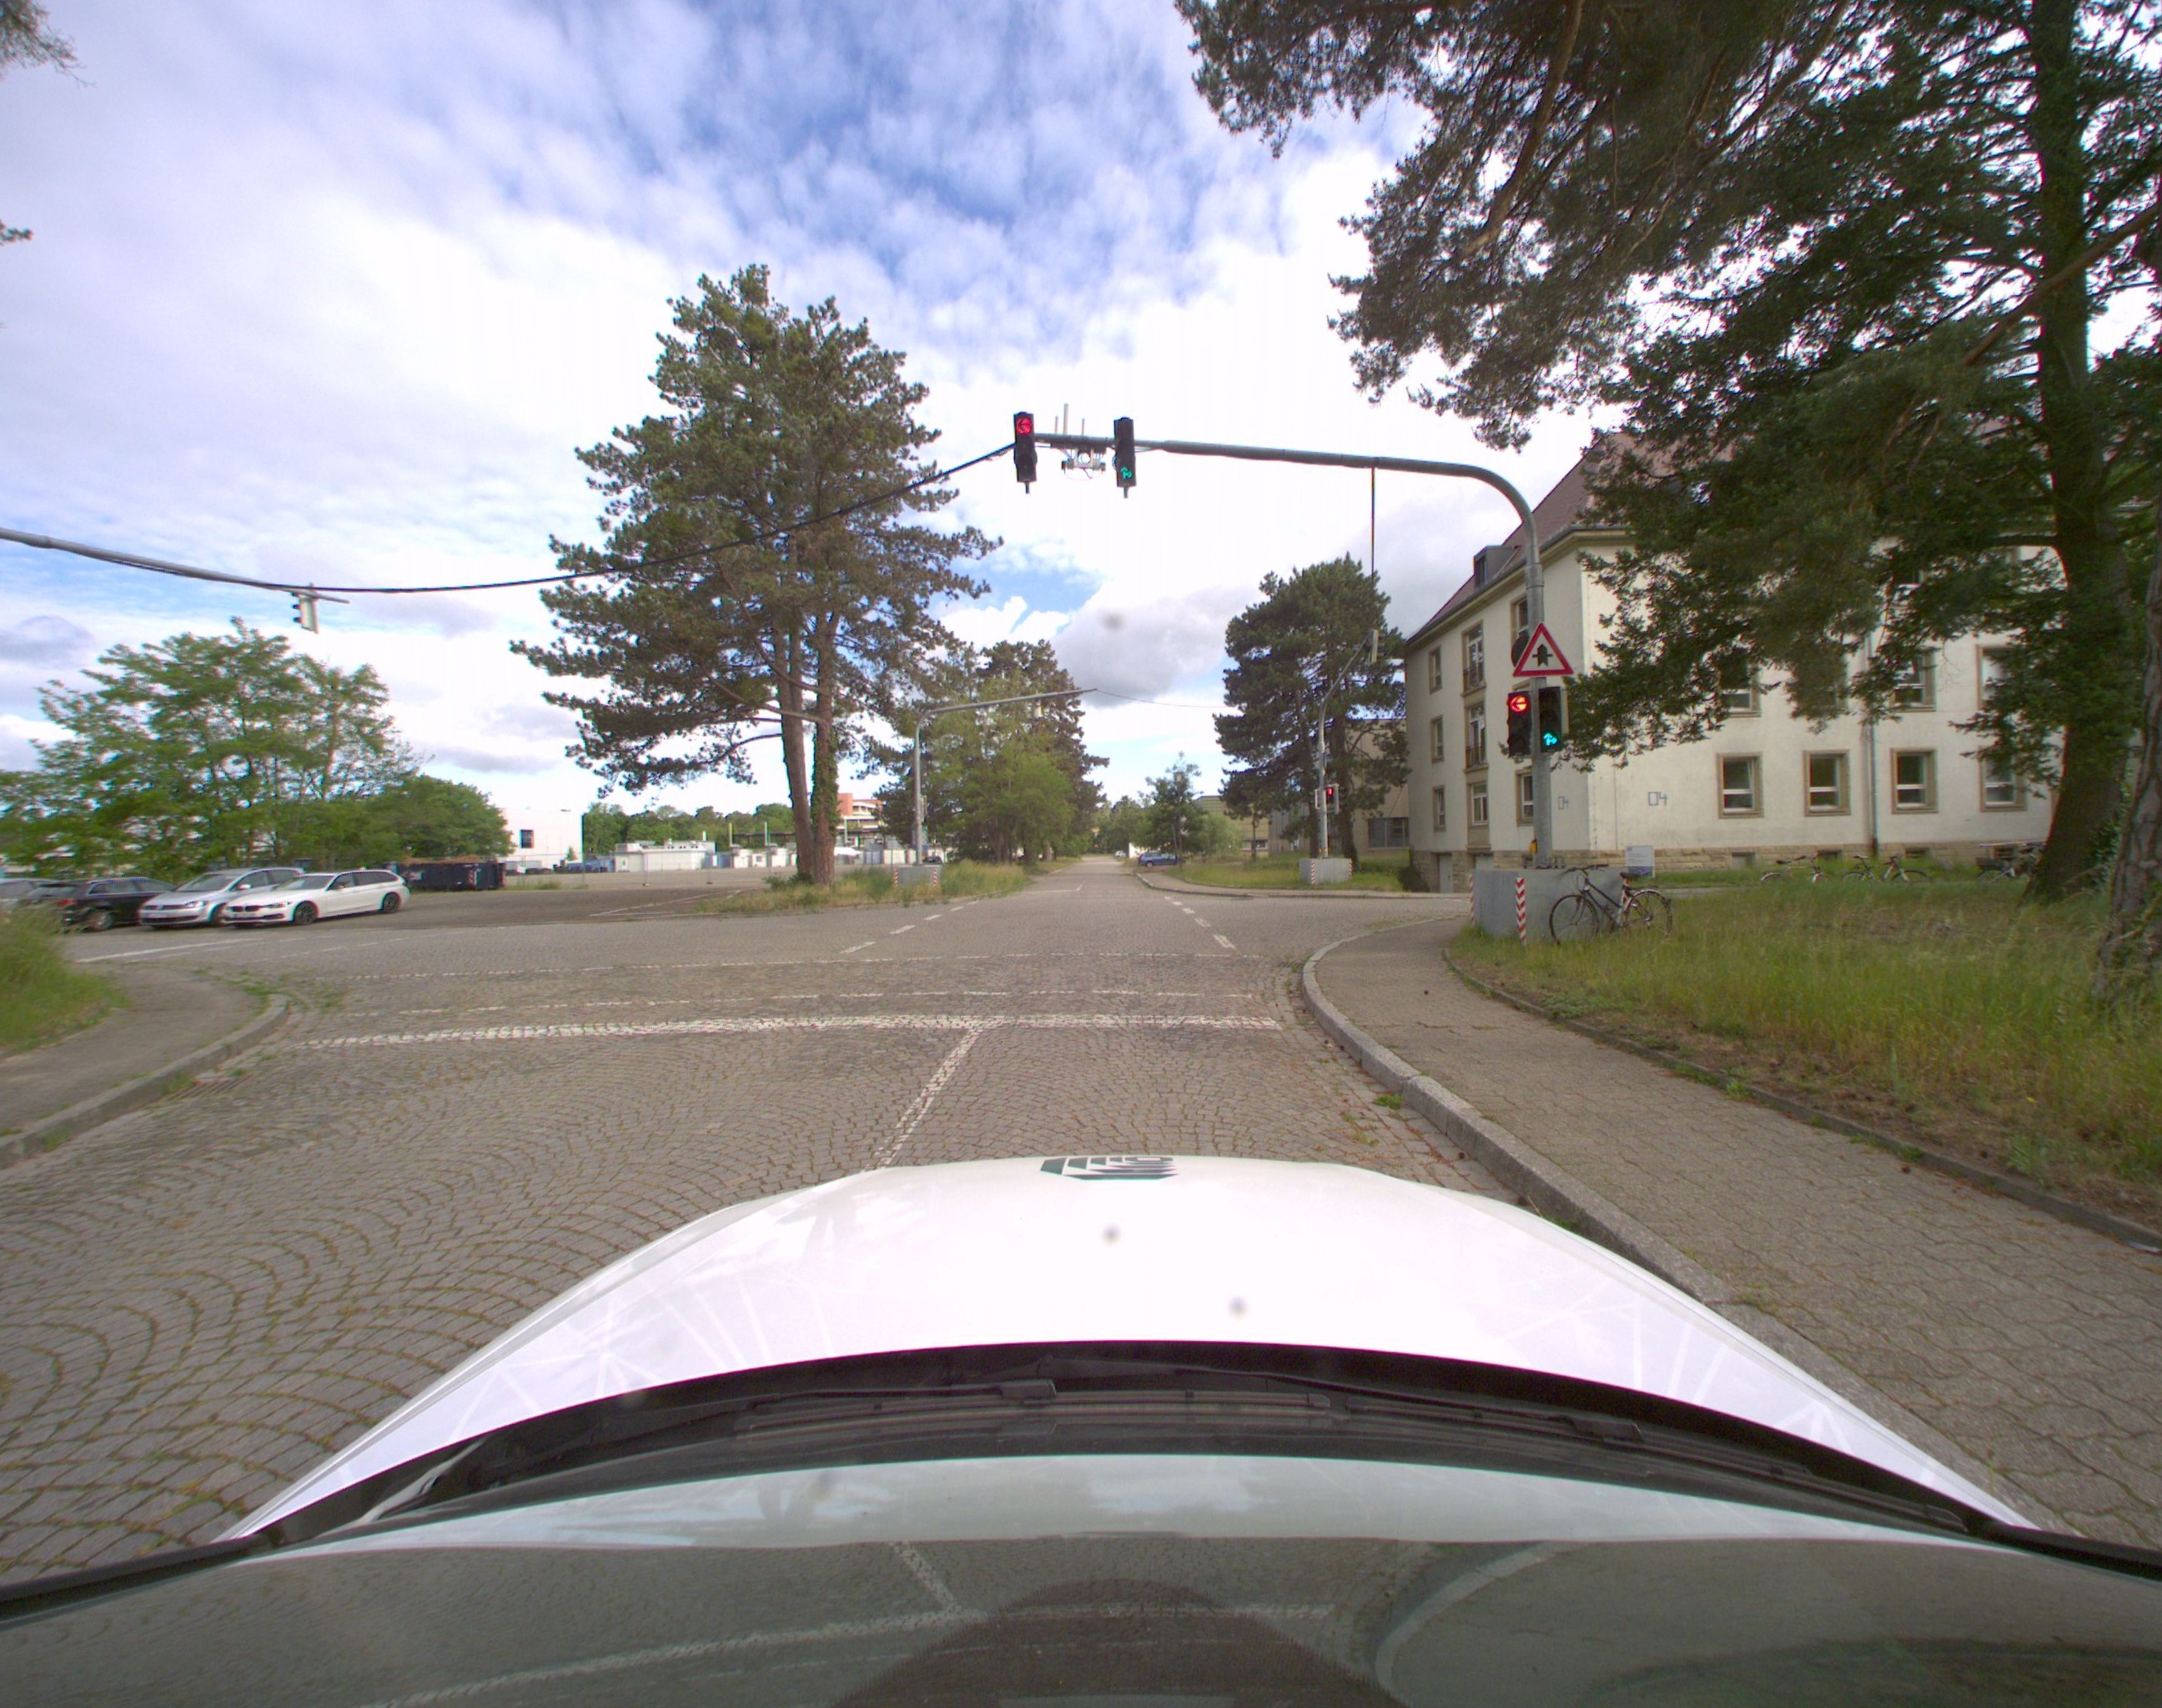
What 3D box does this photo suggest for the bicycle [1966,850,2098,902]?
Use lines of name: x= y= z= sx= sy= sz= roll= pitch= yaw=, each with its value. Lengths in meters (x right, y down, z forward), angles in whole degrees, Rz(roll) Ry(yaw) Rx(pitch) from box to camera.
bicycle: x=18.708 y=0.409 z=16.090 sx=0.538 sy=0.949 sz=1.905 roll=-1 pitch=0 yaw=6

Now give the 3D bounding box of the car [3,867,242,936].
car: x=-27.759 y=1.306 z=23.872 sx=1.850 sy=1.501 sz=4.324 roll=-1 pitch=3 yaw=-2

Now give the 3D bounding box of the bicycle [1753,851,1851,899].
bicycle: x=15.453 y=0.451 z=17.474 sx=1.615 sy=0.980 sz=0.530 roll=-1 pitch=0 yaw=0

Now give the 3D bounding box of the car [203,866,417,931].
car: x=-22.502 y=1.228 z=24.105 sx=1.805 sy=1.441 sz=4.739 roll=-1 pitch=2 yaw=-1

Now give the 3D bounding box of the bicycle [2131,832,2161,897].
bicycle: x=22.040 y=0.213 z=16.047 sx=0.389 sy=1.320 sz=1.922 roll=-1 pitch=0 yaw=7

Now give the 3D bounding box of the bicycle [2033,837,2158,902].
bicycle: x=19.933 y=0.287 z=16.051 sx=0.538 sy=1.215 sz=1.642 roll=-1 pitch=0 yaw=7

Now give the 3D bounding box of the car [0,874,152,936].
car: x=-30.430 y=1.456 z=23.734 sx=1.788 sy=1.566 sz=4.323 roll=-1 pitch=0 yaw=-2

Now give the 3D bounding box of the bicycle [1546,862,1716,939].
bicycle: x=6.732 y=0.562 z=10.014 sx=1.693 sy=0.874 sz=0.573 roll=-1 pitch=0 yaw=1

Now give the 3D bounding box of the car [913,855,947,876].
car: x=-11.339 y=0.844 z=61.360 sx=1.607 sy=1.487 sz=4.002 roll=-1 pitch=0 yaw=2

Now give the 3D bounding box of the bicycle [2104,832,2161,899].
bicycle: x=21.591 y=0.218 z=16.082 sx=0.503 sy=1.320 sz=1.923 roll=-1 pitch=0 yaw=7

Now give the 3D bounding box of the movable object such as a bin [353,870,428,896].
movable object such as a bin: x=-31.078 y=1.286 z=36.730 sx=1.175 sy=1.048 sz=2.655 roll=-2 pitch=0 yaw=-3

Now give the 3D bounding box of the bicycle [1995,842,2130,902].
bicycle: x=19.359 y=0.335 z=16.132 sx=0.538 sy=1.101 sz=1.906 roll=-1 pitch=0 yaw=7

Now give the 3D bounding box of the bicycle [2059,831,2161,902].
bicycle: x=20.431 y=0.224 z=15.884 sx=0.435 sy=1.320 sz=2.051 roll=-1 pitch=0 yaw=7

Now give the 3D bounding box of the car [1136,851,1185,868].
car: x=7.369 y=0.479 z=75.963 sx=4.331 sy=1.422 sz=1.999 roll=-1 pitch=0 yaw=-1

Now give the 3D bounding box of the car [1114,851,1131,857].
car: x=9.822 y=0.052 z=193.055 sx=3.980 sy=1.398 sz=1.997 roll=-1 pitch=0 yaw=-5

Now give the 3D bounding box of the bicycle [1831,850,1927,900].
bicycle: x=17.208 y=0.448 z=17.587 sx=1.531 sy=1.014 sz=0.543 roll=-1 pitch=0 yaw=0

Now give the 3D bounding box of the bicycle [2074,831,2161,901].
bicycle: x=21.003 y=0.221 z=16.069 sx=0.573 sy=1.320 sz=1.979 roll=-1 pitch=0 yaw=7

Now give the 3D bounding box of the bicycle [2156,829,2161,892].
bicycle: x=22.566 y=0.133 z=16.010 sx=0.552 sy=1.320 sz=1.856 roll=-1 pitch=0 yaw=7

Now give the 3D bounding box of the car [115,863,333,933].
car: x=-24.996 y=1.219 z=24.042 sx=1.817 sy=1.584 sz=4.324 roll=-1 pitch=3 yaw=-2
